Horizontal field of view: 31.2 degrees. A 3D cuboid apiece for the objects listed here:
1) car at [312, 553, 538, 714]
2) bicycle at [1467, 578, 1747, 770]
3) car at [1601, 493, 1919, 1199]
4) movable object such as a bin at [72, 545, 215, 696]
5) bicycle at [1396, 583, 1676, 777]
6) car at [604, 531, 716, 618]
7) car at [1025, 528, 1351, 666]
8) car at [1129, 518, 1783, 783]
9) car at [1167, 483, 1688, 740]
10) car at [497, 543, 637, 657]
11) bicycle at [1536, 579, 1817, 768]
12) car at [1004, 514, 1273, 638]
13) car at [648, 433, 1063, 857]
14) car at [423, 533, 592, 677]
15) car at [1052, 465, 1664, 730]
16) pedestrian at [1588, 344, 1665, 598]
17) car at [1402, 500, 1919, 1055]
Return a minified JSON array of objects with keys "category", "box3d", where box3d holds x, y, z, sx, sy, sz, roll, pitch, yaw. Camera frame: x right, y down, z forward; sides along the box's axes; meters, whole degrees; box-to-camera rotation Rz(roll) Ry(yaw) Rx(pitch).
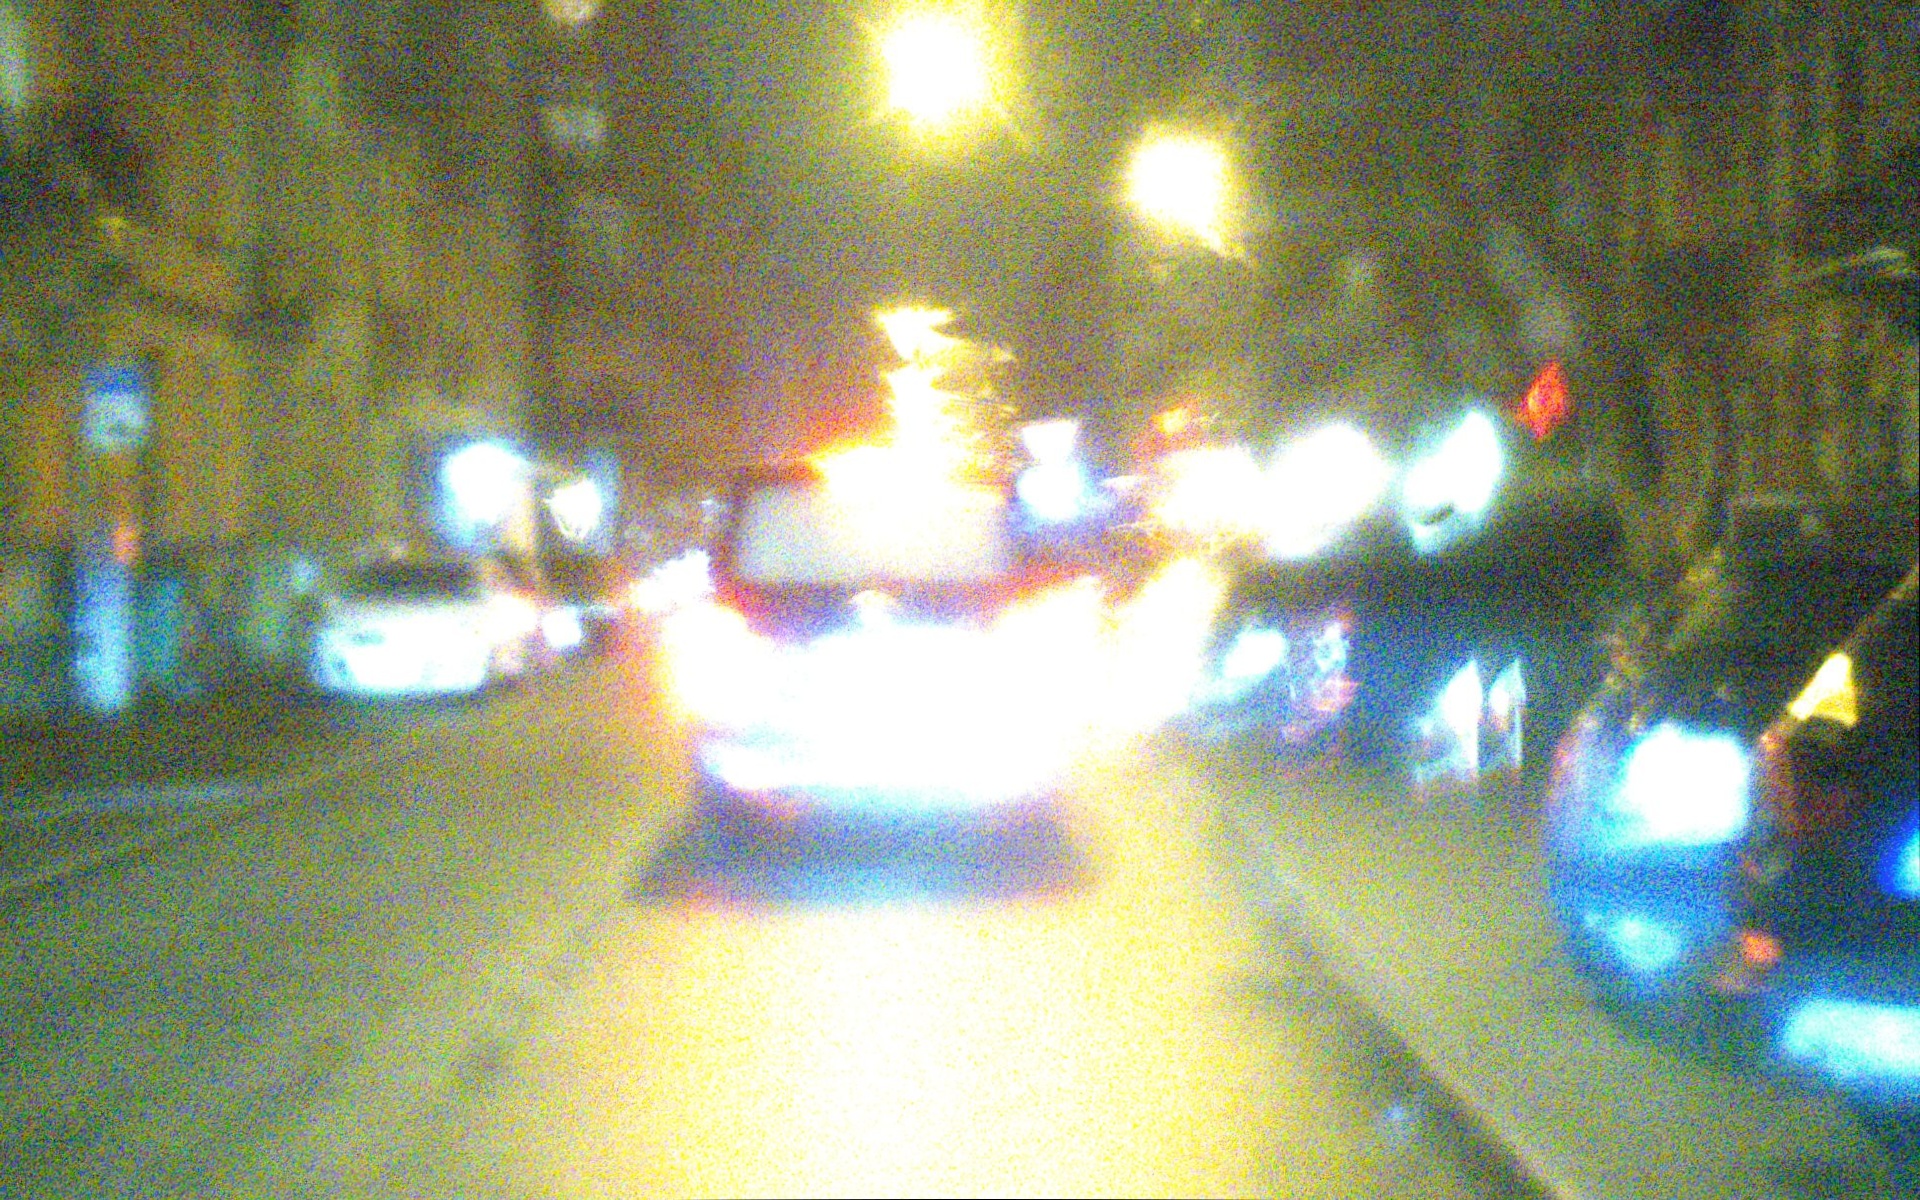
[{"category":"car","box3d":[-5.181,0.284,33.688,1.587,1.477,3.793,0,1,1]},{"category":"bicycle","box3d":[3.832,0.422,20.491,0.518,1.072,1.827,-3,1,-31]},{"category":"car","box3d":[3.327,0.541,8.118,3.643,1.575,1.592,-1,1,-39]},{"category":"movable object such as a bin","box3d":[-7.841,0.185,33.055,1.048,1.394,1.158,1,1,2]},{"category":"bicycle","box3d":[3.358,0.449,20.197,0.518,1.072,1.827,-3,1,-31]},{"category":"car","box3d":[-5.939,-0.527,68.424,1.883,1.679,4.000,0,1,0]},{"category":"car","box3d":[2.727,-0.046,40.900,3.554,1.448,1.672,-3,1,-35]},{"category":"car","box3d":[3.316,0.295,22.894,3.987,1.487,1.735,-3,1,-27]},{"category":"car","box3d":[3.540,0.059,25.953,3.554,1.705,1.646,-3,1,-29]},{"category":"car","box3d":[-5.566,-0.036,49.070,1.812,1.552,4.077,0,1,-4]},{"category":"bicycle","box3d":[4.304,0.427,20.777,0.518,1.072,1.827,-3,1,-31]},{"category":"car","box3d":[2.560,-0.354,48.934,3.555,1.585,1.605,-3,1,-37]},{"category":"car","box3d":[-0.518,0.207,18.593,1.993,2.043,4.000,0,0,0]},{"category":"car","box3d":[-5.094,0.018,39.071,1.655,1.552,4.077,0,1,-4]},{"category":"car","box3d":[3.348,-0.082,28.640,4.784,2.042,2.067,-1,1,-31]},{"category":"pedestrian","box3d":[9.297,-1.791,47.963,0.891,3.515,0.791,0,1,0]},{"category":"car","box3d":[3.444,0.456,11.842,3.642,1.575,1.592,-4,2,-35]}]
